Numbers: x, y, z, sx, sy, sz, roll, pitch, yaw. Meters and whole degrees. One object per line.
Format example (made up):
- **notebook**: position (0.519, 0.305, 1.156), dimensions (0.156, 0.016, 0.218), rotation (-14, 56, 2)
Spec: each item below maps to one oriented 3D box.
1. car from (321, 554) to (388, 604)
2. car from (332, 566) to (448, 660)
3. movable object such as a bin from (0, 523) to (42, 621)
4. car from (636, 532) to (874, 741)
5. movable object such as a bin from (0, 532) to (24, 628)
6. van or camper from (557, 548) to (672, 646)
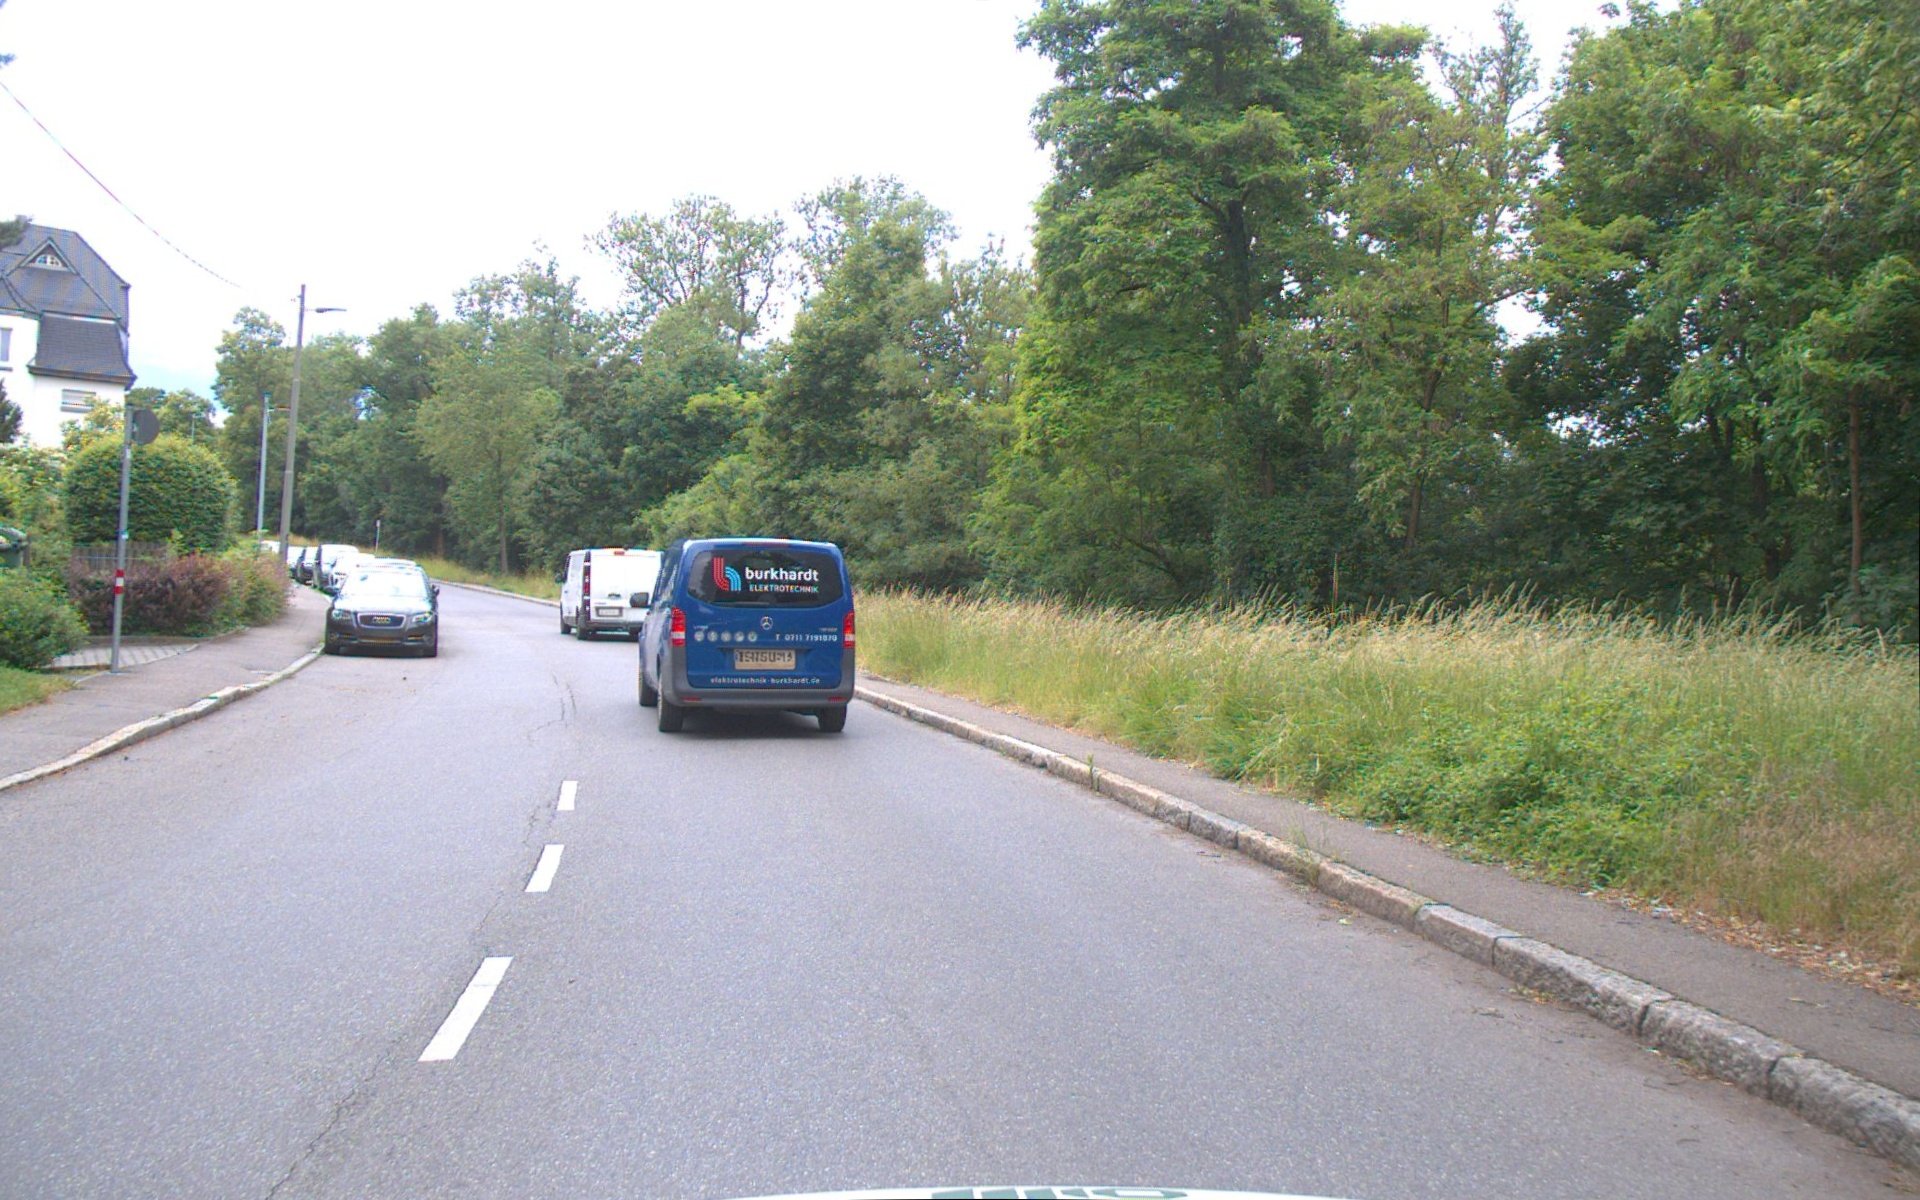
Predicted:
- **car**: position (-21.591, -0.781, 58.889), dimensions (1.703, 1.518, 4.378), rotation (7, -1, -25)
- **car**: position (-9.766, 0.171, 28.508), dimensions (1.708, 1.443, 4.481), rotation (2, 1, -18)
- **movable object such as a bin**: position (-15.489, -0.478, 26.516), dimensions (1.077, 1.492, 1.445), rotation (3, 2, -21)
- **car**: position (-2.299, 0.269, 17.473), dimensions (1.882, 1.869, 4.278), rotation (2, 2, -15)
- **movable object such as a bin**: position (-14.990, -0.340, 25.091), dimensions (1.098, 1.386, 1.385), rotation (3, 2, -21)
- **van or camper**: position (-7.811, -0.110, 37.098), dimensions (1.988, 1.991, 4.872), rotation (2, 1, -18)
